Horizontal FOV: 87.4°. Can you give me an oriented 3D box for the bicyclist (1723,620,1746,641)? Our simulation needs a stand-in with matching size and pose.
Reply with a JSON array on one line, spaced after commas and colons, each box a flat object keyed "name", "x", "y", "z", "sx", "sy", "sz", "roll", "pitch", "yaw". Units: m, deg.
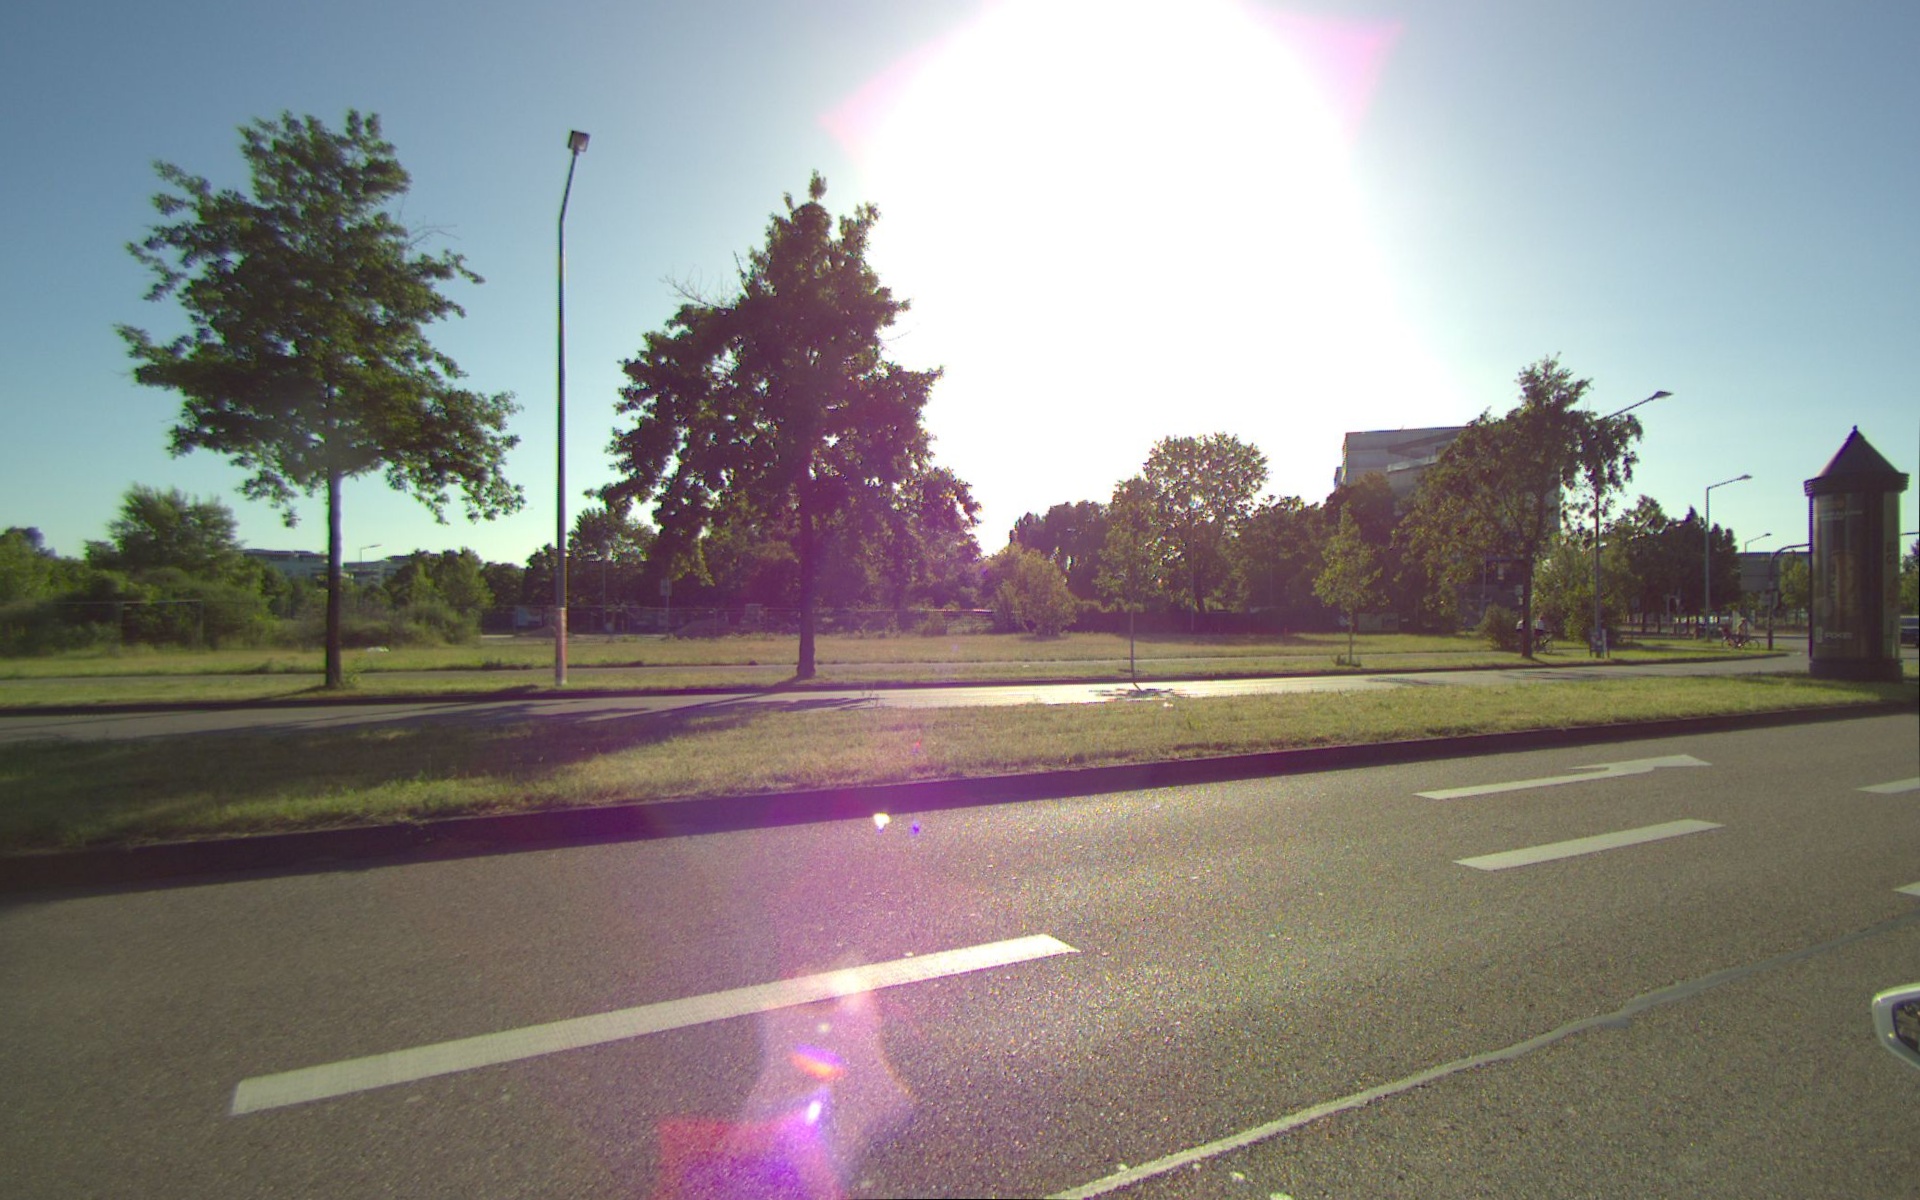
[{"name": "bicyclist", "x": 40.537, "y": 1.587, "z": 52.588, "sx": 0.595, "sy": 1.122, "sz": 0.734, "roll": 1, "pitch": -1, "yaw": -17}]

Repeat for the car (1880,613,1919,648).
[{"name": "car", "x": 53.140, "y": 1.692, "z": 56.232, "sx": 1.610, "sy": 1.901, "sz": 3.992, "roll": 0, "pitch": -1, "yaw": 30}]

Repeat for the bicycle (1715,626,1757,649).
[{"name": "bicycle", "x": 40.550, "y": 1.951, "z": 52.538, "sx": 0.595, "sy": 1.122, "sz": 1.726, "roll": 1, "pitch": -1, "yaw": -17}]

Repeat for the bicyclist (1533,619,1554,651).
[{"name": "bicyclist", "x": 26.543, "y": 1.589, "z": 45.718, "sx": 0.739, "sy": 1.411, "sz": 0.559, "roll": 1, "pitch": -1, "yaw": -31}]

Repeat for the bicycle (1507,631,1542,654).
[{"name": "bicycle", "x": 26.453, "y": 1.982, "z": 47.082, "sx": 2.072, "sy": 1.016, "sz": 0.484, "roll": 1, "pitch": -1, "yaw": -31}]

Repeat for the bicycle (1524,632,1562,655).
[{"name": "bicycle", "x": 26.553, "y": 1.963, "z": 45.723, "sx": 2.072, "sy": 1.016, "sz": 0.567, "roll": 1, "pitch": -1, "yaw": -31}]

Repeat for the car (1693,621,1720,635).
[{"name": "car", "x": 99.574, "y": 3.776, "z": 134.026, "sx": 1.786, "sy": 1.728, "sz": 4.000, "roll": 1, "pitch": 0, "yaw": 20}]

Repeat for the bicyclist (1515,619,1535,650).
[{"name": "bicyclist", "x": 26.490, "y": 1.619, "z": 47.105, "sx": 0.835, "sy": 1.413, "sz": 0.480, "roll": 1, "pitch": -1, "yaw": -31}]
